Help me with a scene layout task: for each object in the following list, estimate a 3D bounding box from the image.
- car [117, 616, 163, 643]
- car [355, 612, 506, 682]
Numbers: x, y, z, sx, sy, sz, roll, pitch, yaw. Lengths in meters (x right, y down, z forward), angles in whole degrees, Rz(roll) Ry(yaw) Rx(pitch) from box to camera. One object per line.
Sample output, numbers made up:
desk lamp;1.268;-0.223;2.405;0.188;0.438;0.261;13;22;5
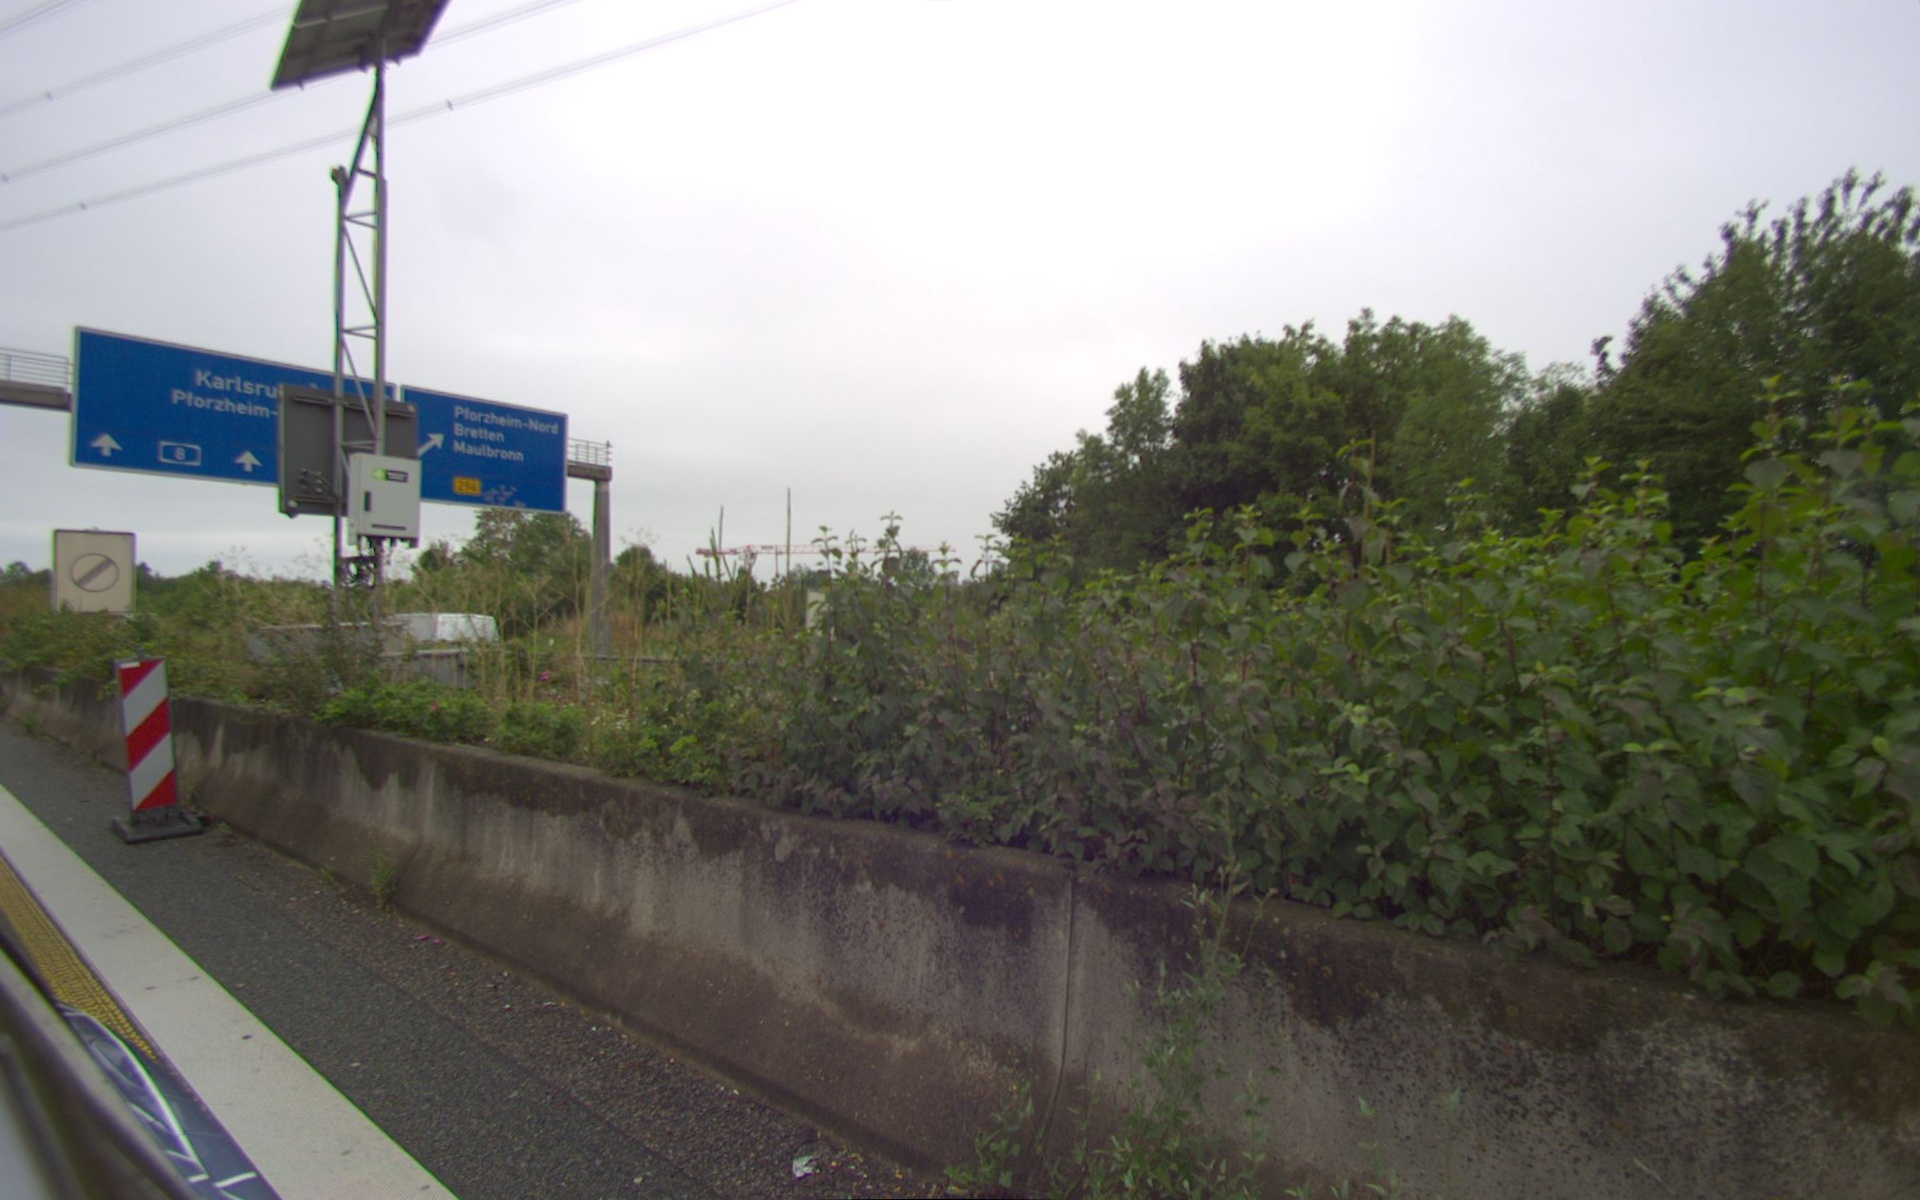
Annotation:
car;-64.921;2.330;80.090;5.057;2.029;1.973;-1;-1;41
car;-14.541;1.219;27.646;5.057;1.740;1.973;-1;-1;41
